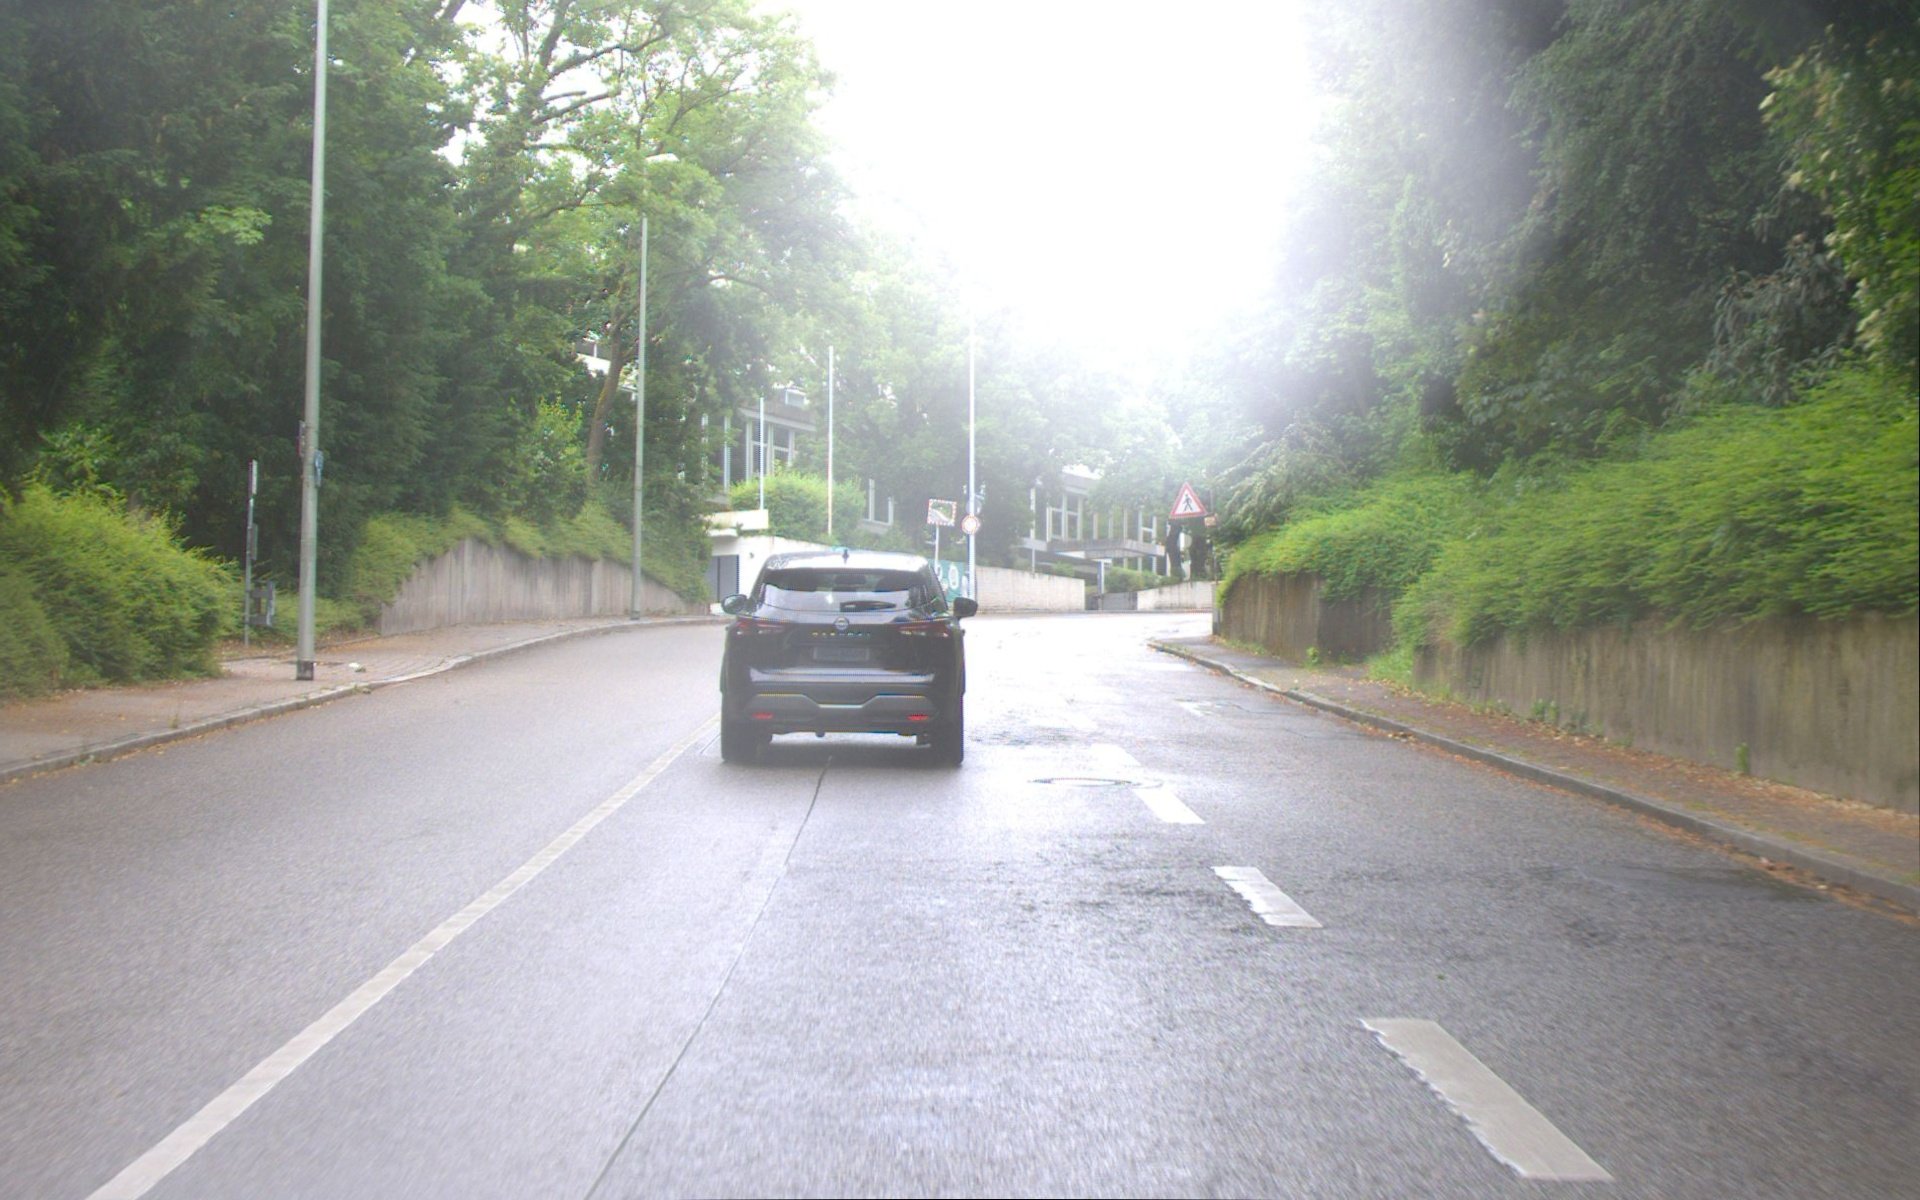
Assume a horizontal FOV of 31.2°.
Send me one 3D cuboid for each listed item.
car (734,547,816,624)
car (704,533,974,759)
[{"bbox_3d":[-4.304,-0.349,80.484,1.830,1.705,4.000,1,1,-2],"label":"car"},{"bbox_3d":[-0.906,0.310,26.917,1.928,1.607,4.000,1,1,-1],"label":"car"}]
